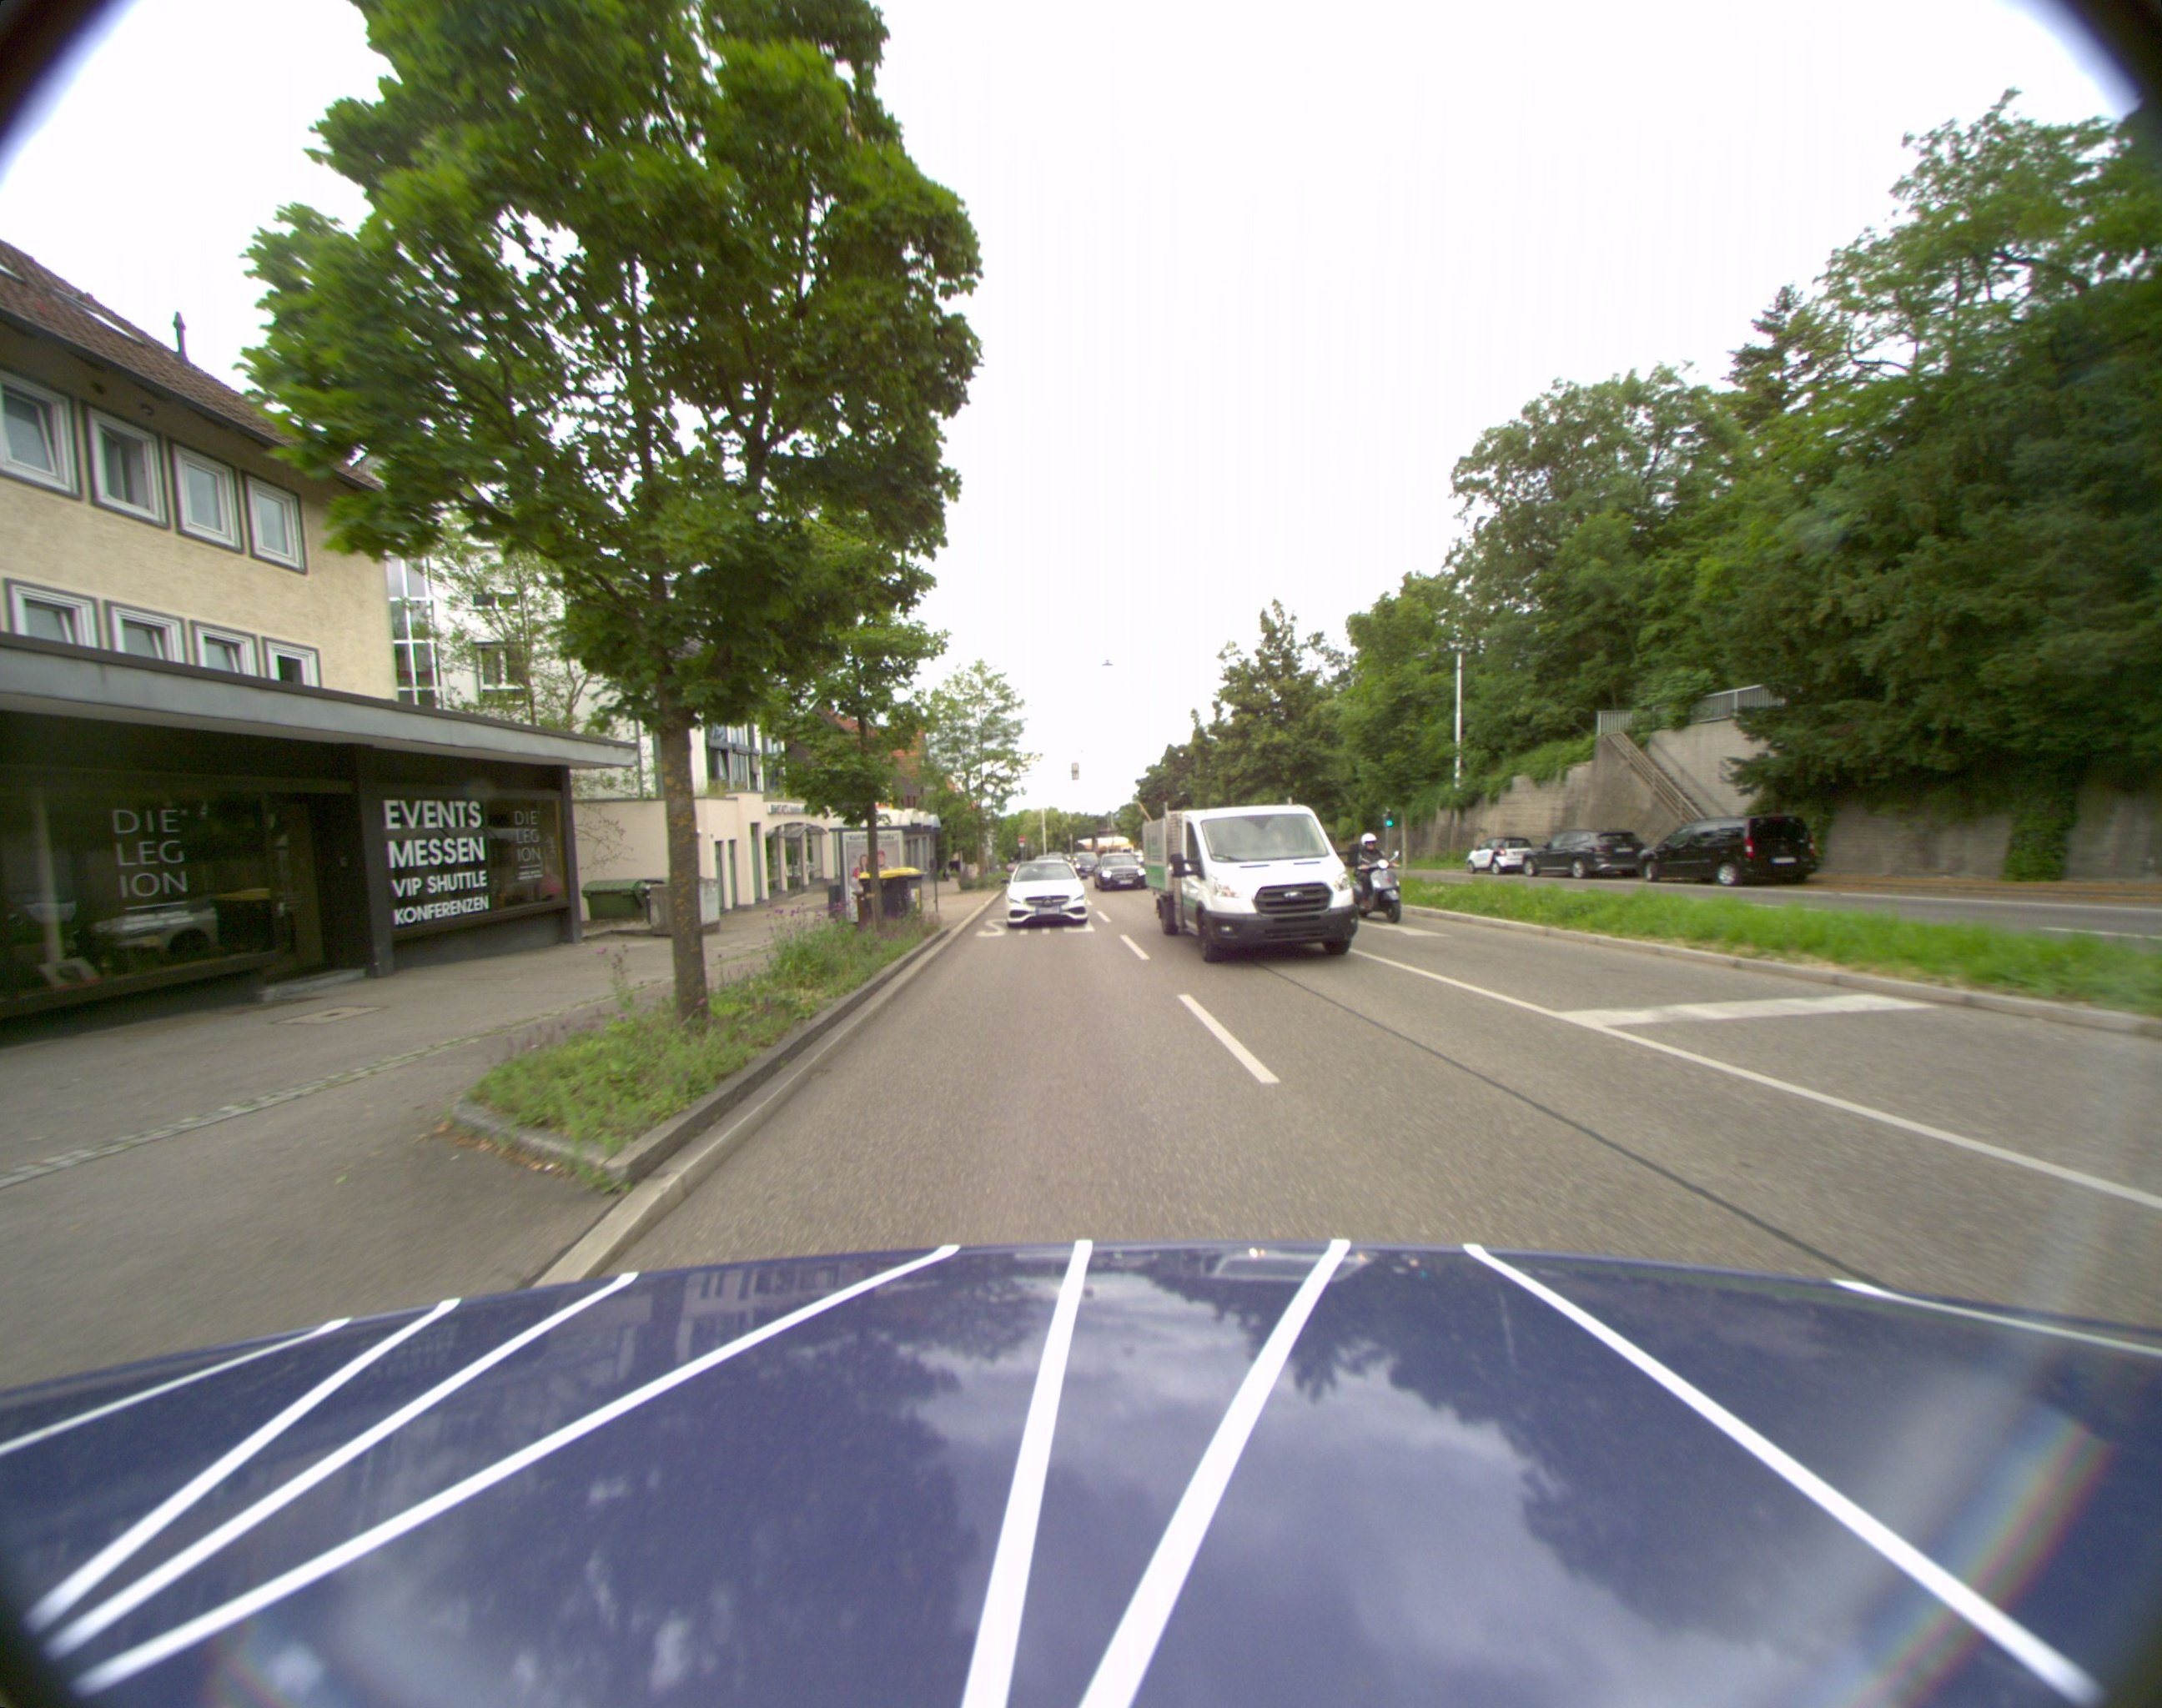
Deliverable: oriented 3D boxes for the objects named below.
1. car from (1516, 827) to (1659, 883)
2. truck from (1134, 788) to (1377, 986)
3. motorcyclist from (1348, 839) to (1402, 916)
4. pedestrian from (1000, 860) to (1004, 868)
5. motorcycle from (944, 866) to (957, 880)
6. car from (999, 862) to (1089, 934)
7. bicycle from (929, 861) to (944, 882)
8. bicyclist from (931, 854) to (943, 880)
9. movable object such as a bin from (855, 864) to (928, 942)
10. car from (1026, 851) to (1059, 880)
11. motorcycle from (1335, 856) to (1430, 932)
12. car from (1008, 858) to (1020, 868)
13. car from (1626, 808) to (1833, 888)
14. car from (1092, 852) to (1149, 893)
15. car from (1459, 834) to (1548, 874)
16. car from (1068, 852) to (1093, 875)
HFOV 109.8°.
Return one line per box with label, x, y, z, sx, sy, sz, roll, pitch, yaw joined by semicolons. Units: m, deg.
car;17.378;0.015;26.378;1.974;1.647;4.532;-3;0;2
truck;2.375;0.373;12.457;2.081;2.308;6.329;-3;1;-3
motorcyclist;5.574;0.436;14.440;0.684;1.410;0.722;-2;1;-3
pedestrian;-13.665;1.733;131.367;0.713;1.462;0.695;-3;0;-3
motorcycle;-10.694;1.552;62.223;0.697;1.045;1.967;-1;0;0
car;-0.808;0.944;17.846;1.817;1.390;3.999;-3;0;-1
bicycle;-9.123;1.098;48.059;0.573;1.254;2.038;-2;-1;-2
bicyclist;-9.150;0.801;48.292;0.539;1.623;0.947;-3;0;-2
movable object such as a bin;-3.915;0.981;15.859;1.088;1.473;1.536;-3;0;-1
car;-2.255;0.636;44.664;1.778;1.532;3.999;-3;0;-2
motorcycle;5.619;0.709;14.297;0.830;1.291;2.045;-2;0;-4
car;-12.243;1.599;138.697;1.923;1.641;3.999;-3;0;-3
car;17.385;-0.135;20.724;1.784;1.832;4.488;-3;0;1
car;1.535;0.725;31.248;1.916;1.472;4.400;-3;0;-2
car;17.553;0.024;31.726;1.785;1.489;3.097;-3;0;-3
car;-0.030;0.688;55.962;1.777;1.520;4.000;-2;0;0
